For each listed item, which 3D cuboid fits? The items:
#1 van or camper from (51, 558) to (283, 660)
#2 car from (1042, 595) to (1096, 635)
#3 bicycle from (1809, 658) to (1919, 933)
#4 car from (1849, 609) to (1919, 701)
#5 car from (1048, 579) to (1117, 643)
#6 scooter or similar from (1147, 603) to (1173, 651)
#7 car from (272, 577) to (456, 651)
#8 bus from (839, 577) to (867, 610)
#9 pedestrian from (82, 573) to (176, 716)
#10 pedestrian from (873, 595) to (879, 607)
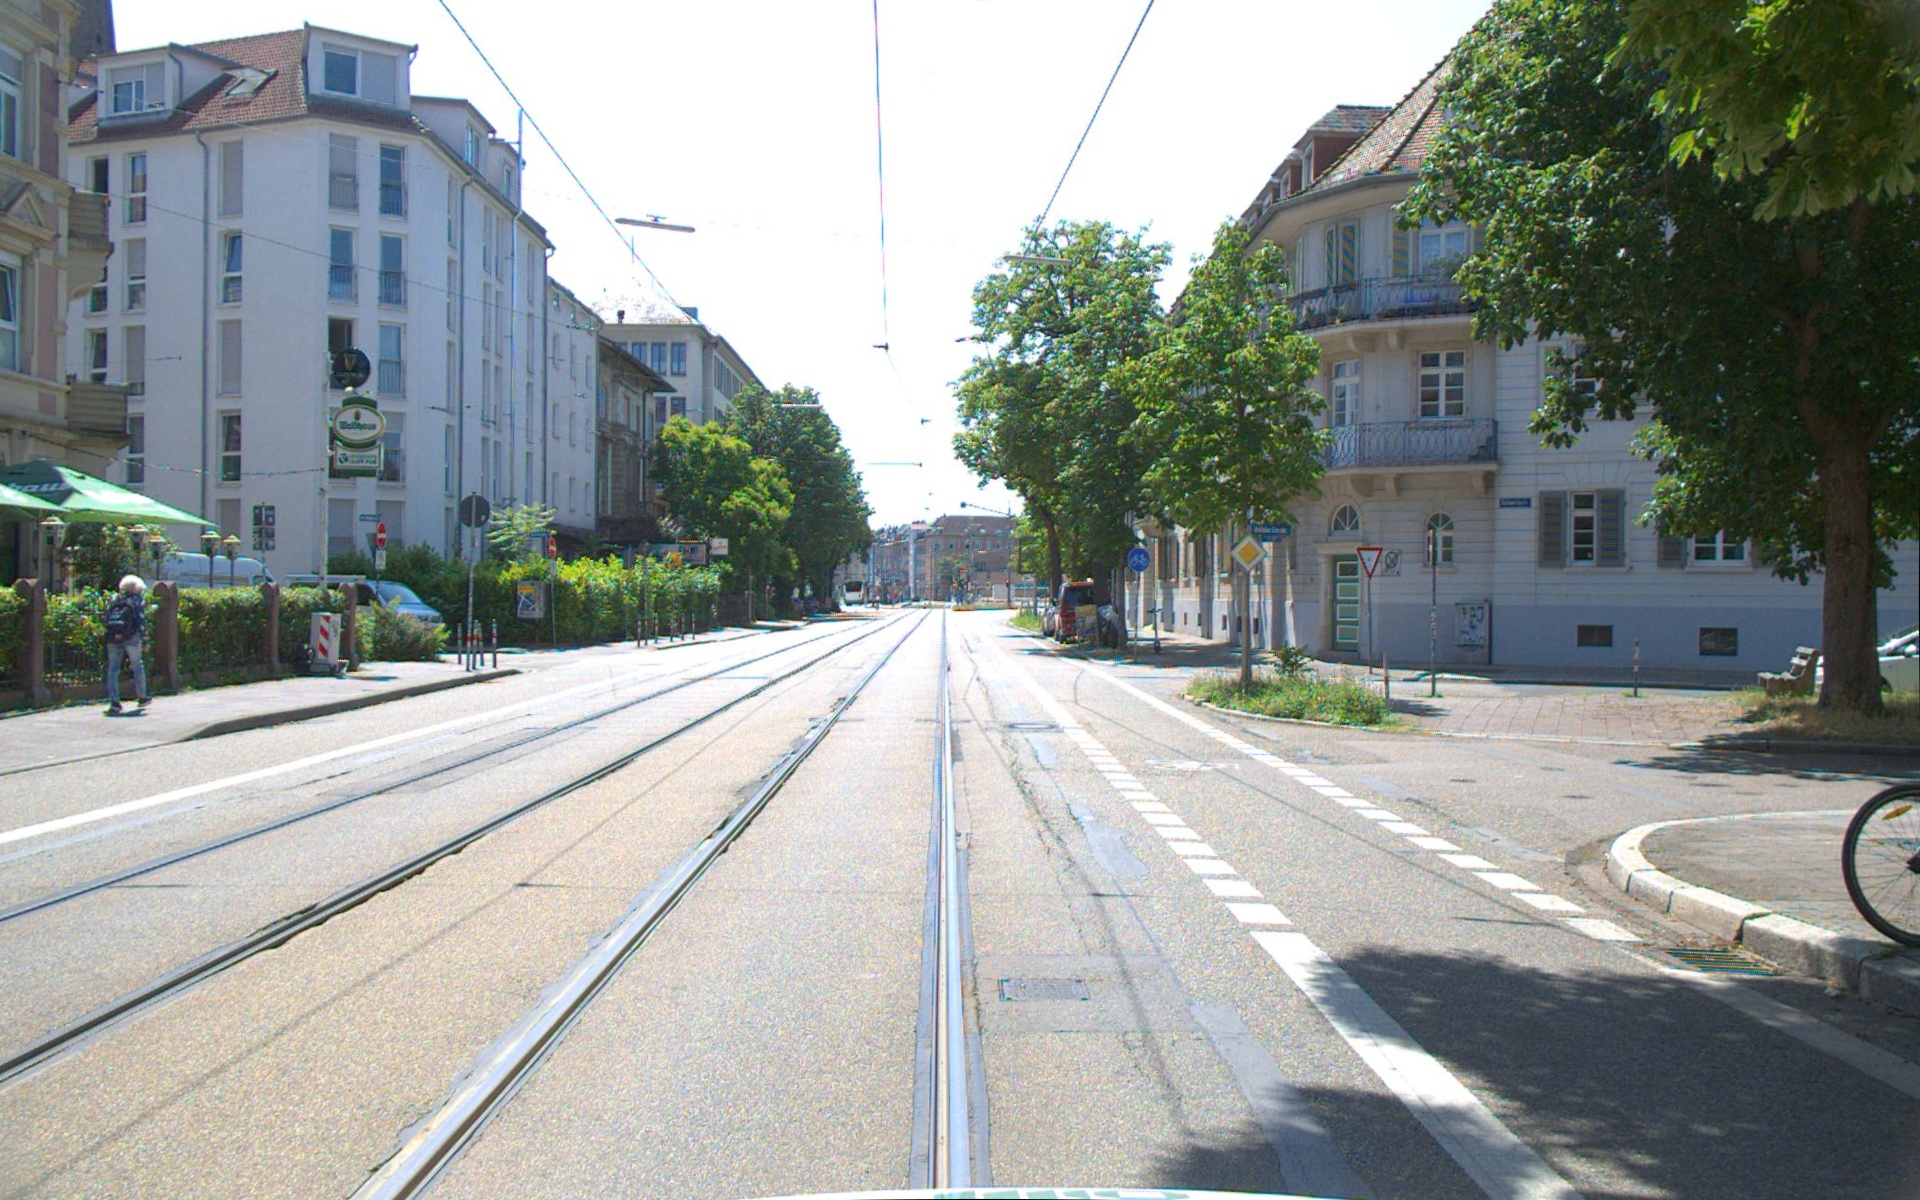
[{"bbox_3d":[-17.807,0.175,37.433,1.952,2.156,4.801,0,0,18],"label":"van or camper"},{"bbox_3d":[4.169,0.560,63.831,1.748,1.499,3.771,0,0,-2],"label":"car"},{"bbox_3d":[4.724,0.814,7.212,1.779,1.133,0.493,-1,-1,-2],"label":"bicycle"},{"bbox_3d":[16.757,0.871,26.246,4.590,1.413,1.736,0,1,27],"label":"car"},{"bbox_3d":[4.124,0.341,56.332,1.952,2.071,4.696,0,1,-1],"label":"car"},{"bbox_3d":[5.319,0.704,44.001,0.491,1.251,1.573,0,0,-1],"label":"scooter or similar"},{"bbox_3d":[-16.278,0.351,45.255,4.386,1.937,2.001,0,0,16],"label":"car"},{"bbox_3d":[-13.820,-0.782,214.124,2.871,4.005,11.272,2,0,-1],"label":"bus"},{"bbox_3d":[-9.890,0.519,19.708,0.736,1.657,0.832,0,0,-6],"label":"pedestrian"},{"bbox_3d":[-8.621,0.077,169.922,0.482,1.193,0.588,-1,0,-10],"label":"pedestrian"}]
